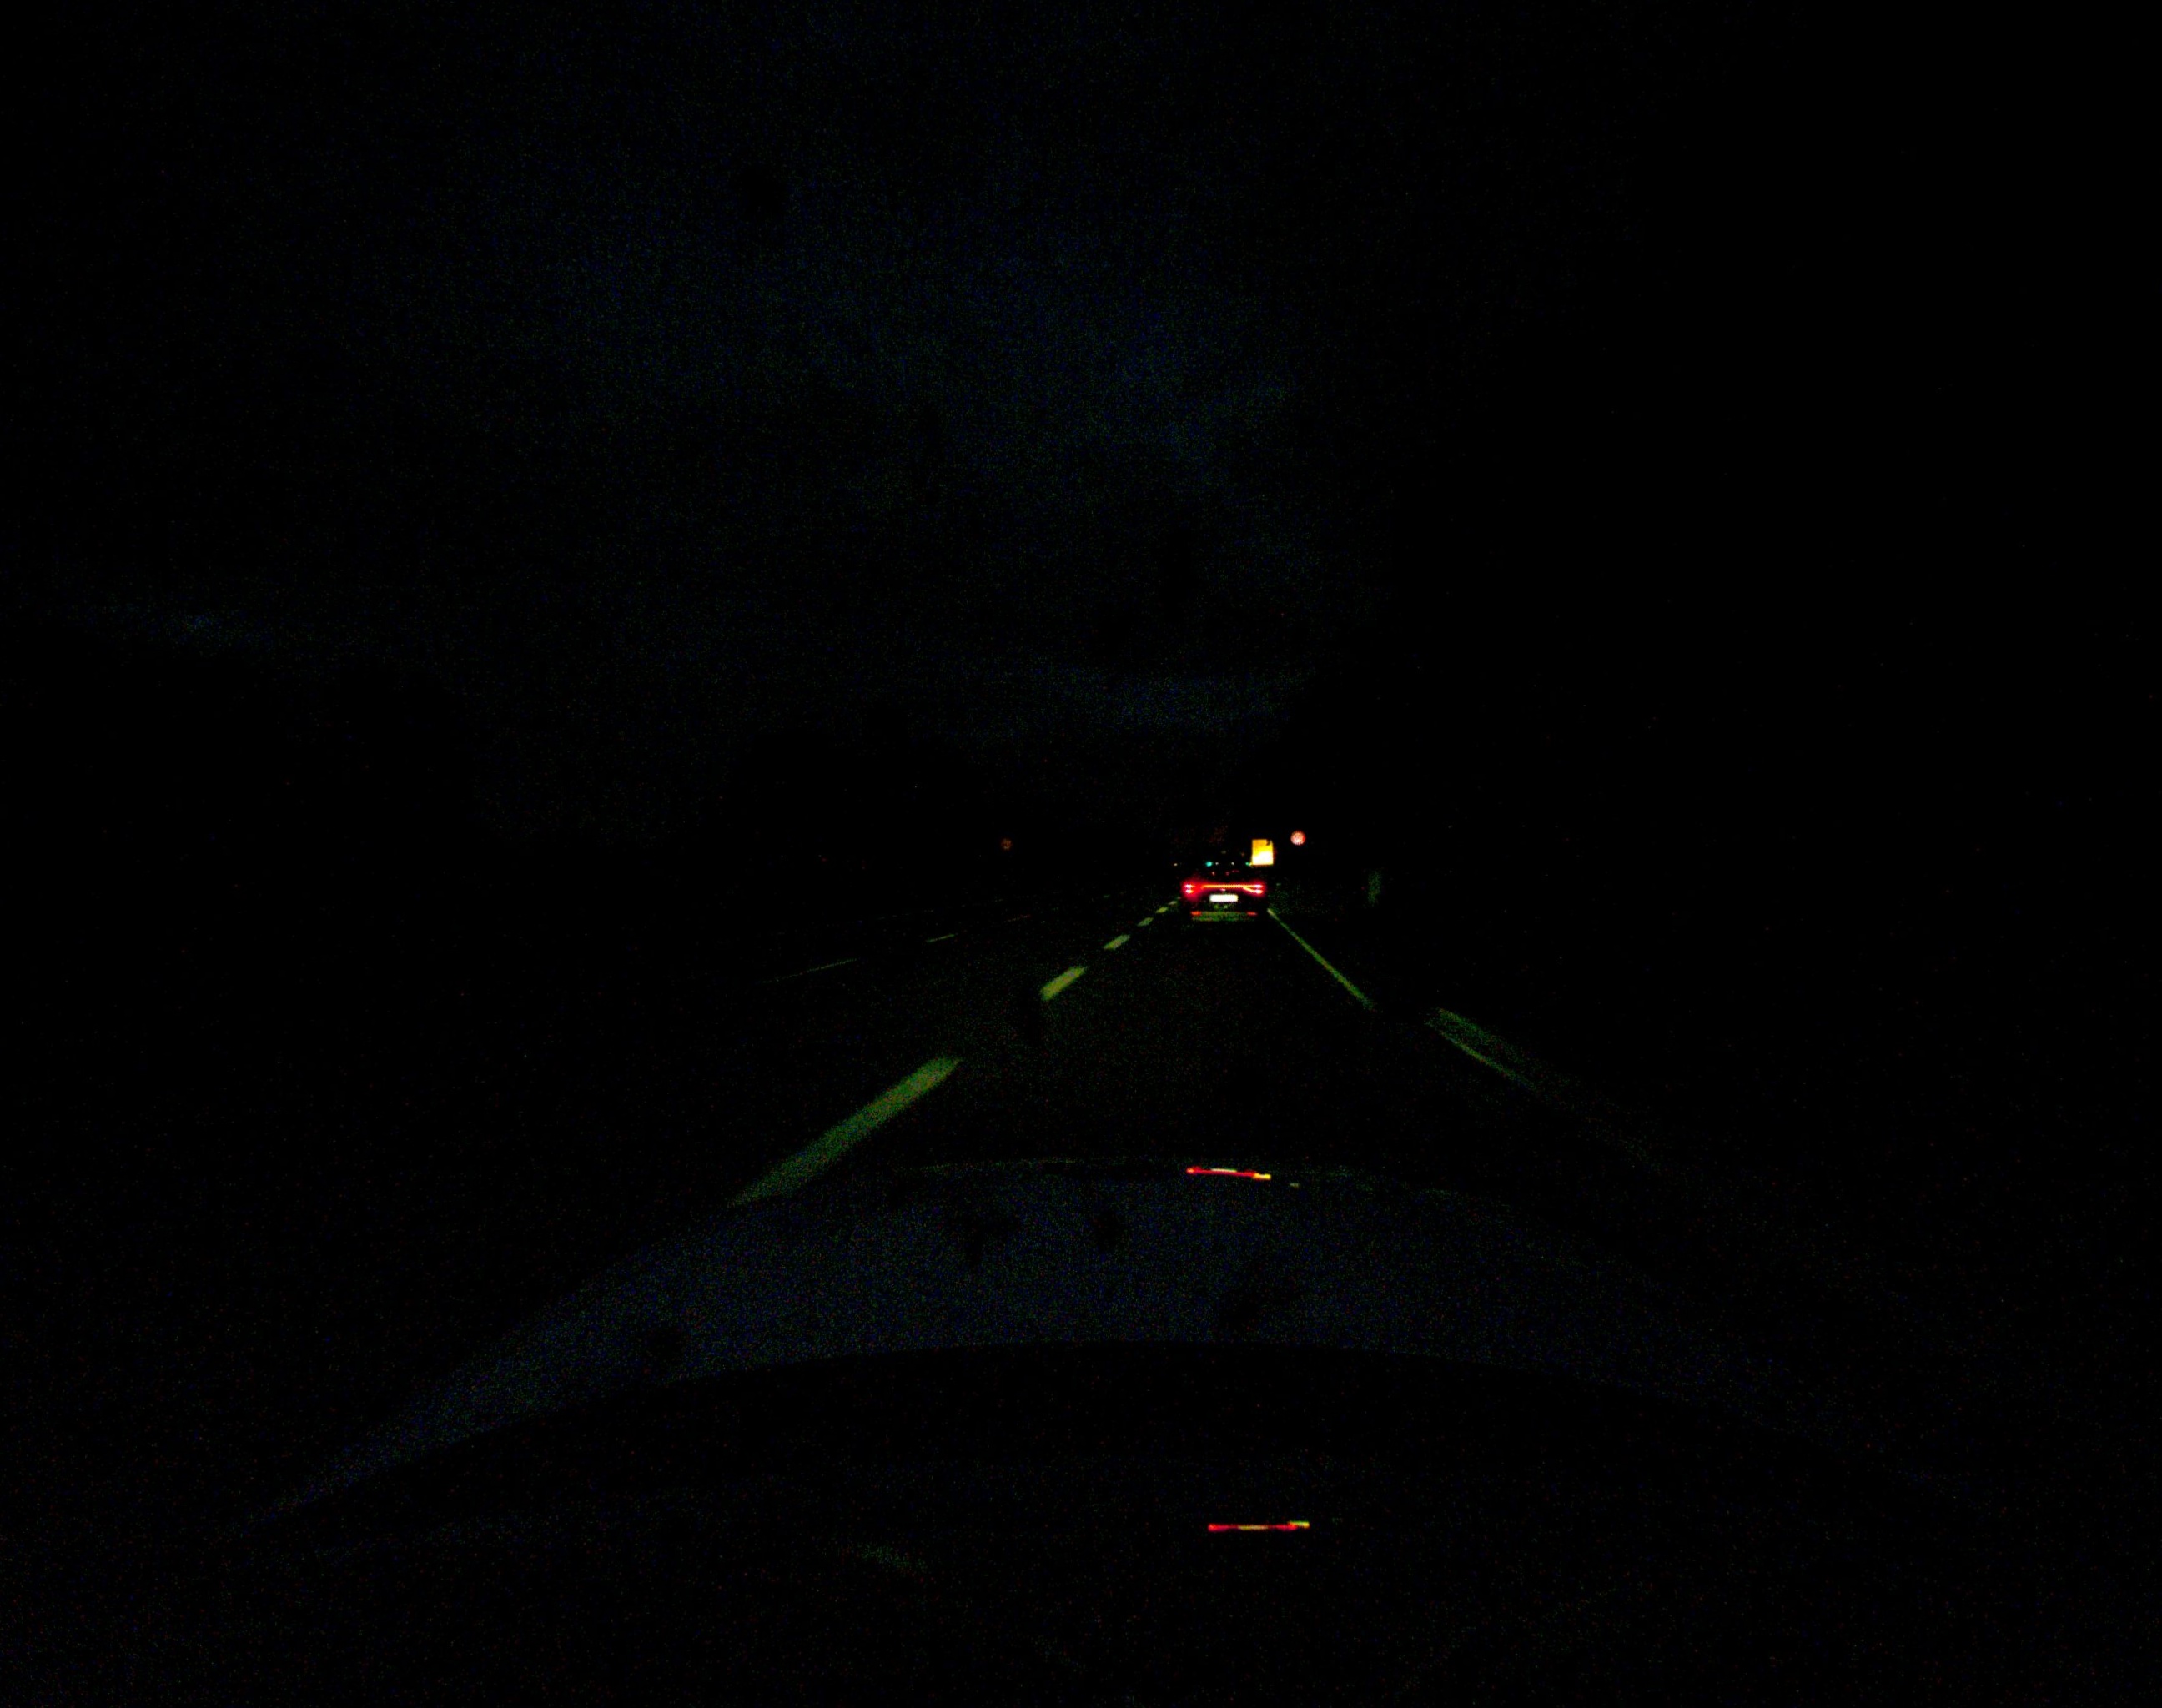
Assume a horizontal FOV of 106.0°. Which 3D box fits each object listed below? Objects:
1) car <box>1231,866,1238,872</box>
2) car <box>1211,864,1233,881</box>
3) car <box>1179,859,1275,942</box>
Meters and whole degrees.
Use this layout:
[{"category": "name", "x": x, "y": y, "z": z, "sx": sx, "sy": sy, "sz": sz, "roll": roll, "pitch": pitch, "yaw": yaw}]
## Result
[{"category": "car", "x": 46.474, "y": 4.554, "z": 246.561, "sx": 1.980, "sy": 1.750, "sz": 4.013, "roll": -5, "pitch": -3, "yaw": 12}, {"category": "car", "x": 12.076, "y": 1.567, "z": 69.392, "sx": 1.742, "sy": 1.453, "sz": 4.446, "roll": -1, "pitch": -1, "yaw": 11}, {"category": "car", "x": 3.235, "y": 0.959, "z": 18.606, "sx": 1.890, "sy": 1.620, "sz": 4.566, "roll": 0, "pitch": -1, "yaw": 8}]
